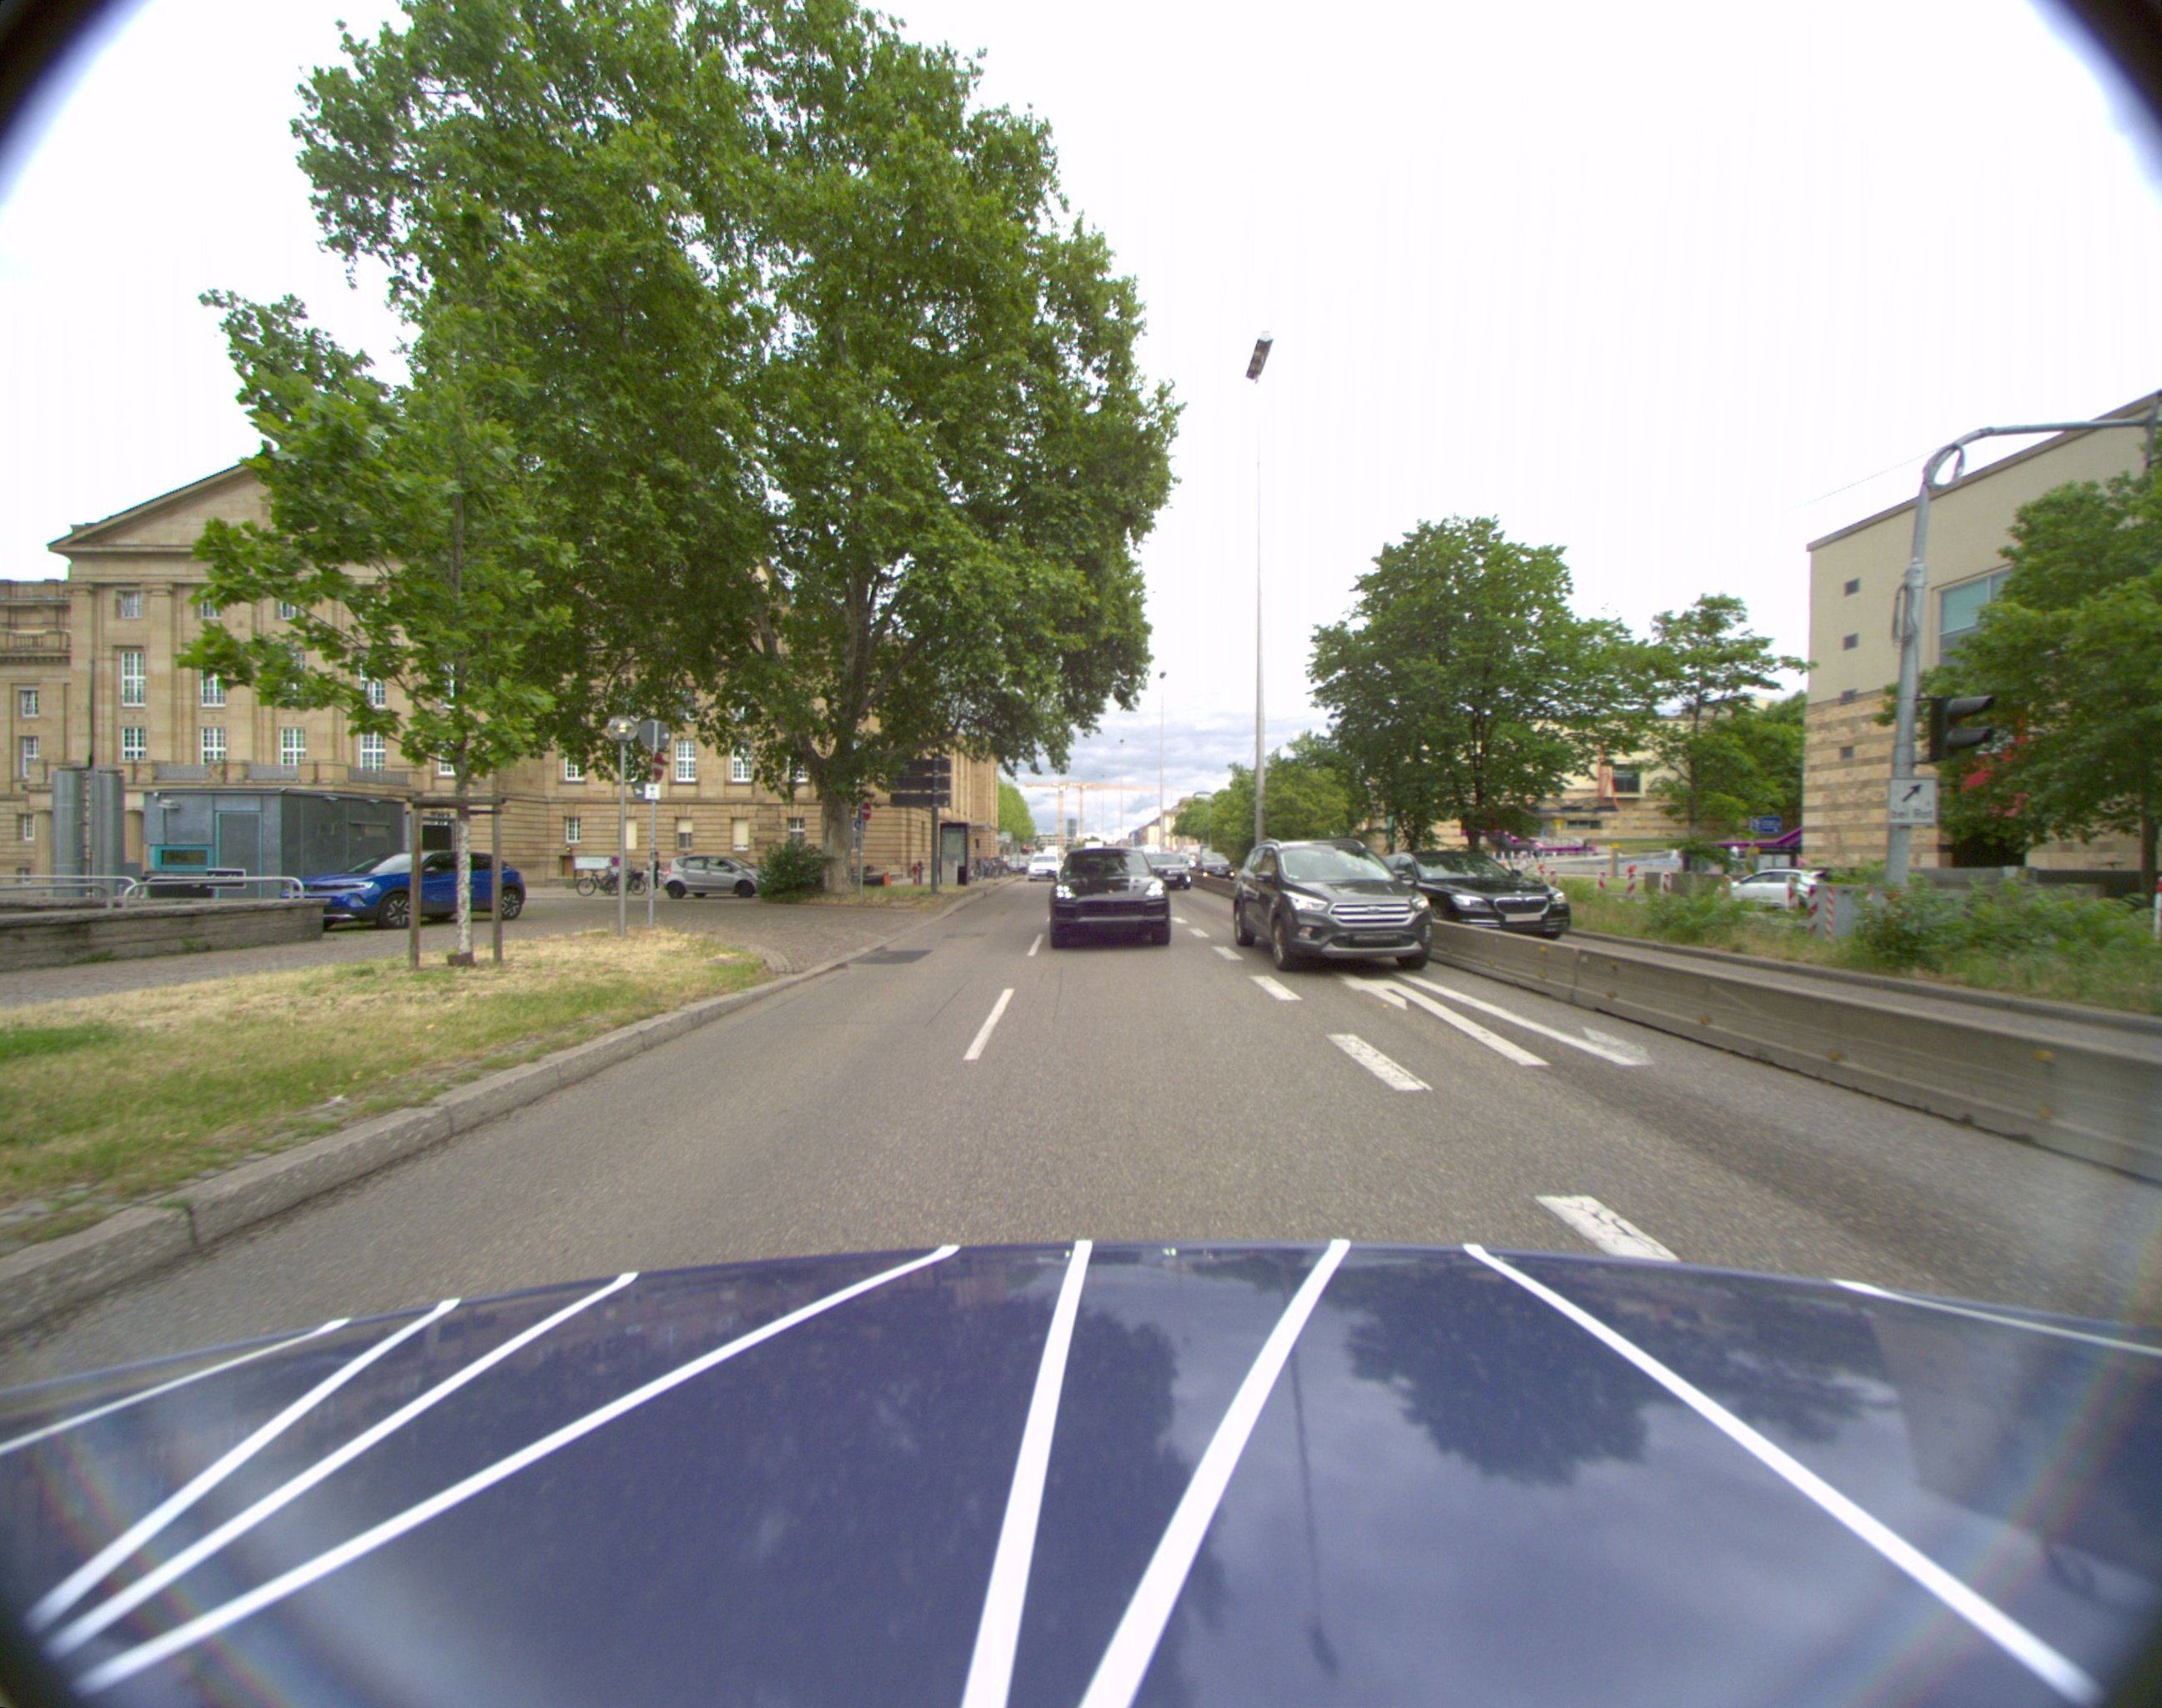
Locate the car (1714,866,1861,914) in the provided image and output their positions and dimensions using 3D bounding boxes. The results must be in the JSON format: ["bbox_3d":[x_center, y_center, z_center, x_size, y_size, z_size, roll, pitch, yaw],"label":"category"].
[{"bbox_3d":[22.964,1.130,24.905,1.355,1.281,3.736,-2,1,1],"label":"car"}]

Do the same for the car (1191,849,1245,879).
[{"bbox_3d":[7.038,0.497,39.484,1.998,1.474,4.809,0,0,0],"label":"car"}]

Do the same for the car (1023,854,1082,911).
[{"bbox_3d":[-0.813,0.792,23.201,1.582,1.600,3.578,0,0,1],"label":"car"}]

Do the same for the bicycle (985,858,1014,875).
[{"bbox_3d":[-5.284,0.791,49.264,1.842,1.066,0.531,0,1,-19],"label":"bicycle"}]

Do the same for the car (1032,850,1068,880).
[{"bbox_3d":[-1.794,0.623,45.087,1.695,1.585,4.000,2,1,3],"label":"car"}]

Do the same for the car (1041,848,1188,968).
[{"bbox_3d":[0.423,0.763,13.329,2.061,1.616,4.600,-3,1,-2],"label":"car"}]

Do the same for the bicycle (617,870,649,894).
[{"bbox_3d":[-19.974,1.223,33.932,0.918,0.925,2.674,-3,1,-24],"label":"bicycle"}]

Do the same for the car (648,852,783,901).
[{"bbox_3d":[-13.322,0.797,27.846,3.997,1.587,1.734,-2,1,1],"label":"car"}]

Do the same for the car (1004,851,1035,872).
[{"bbox_3d":[-4.862,0.581,60.376,1.843,1.522,4.000,0,1,4],"label":"car"}]

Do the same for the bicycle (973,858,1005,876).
[{"bbox_3d":[-5.639,0.810,46.739,1.918,1.092,0.541,0,1,-7],"label":"bicycle"}]

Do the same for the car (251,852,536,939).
[{"bbox_3d":[-13.505,0.761,15.355,1.767,1.508,4.219,0,-1,3],"label":"car"}]

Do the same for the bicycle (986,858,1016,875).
[{"bbox_3d":[-5.095,0.804,48.344,1.841,1.066,0.532,0,1,-7],"label":"bicycle"}]

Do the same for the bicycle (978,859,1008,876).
[{"bbox_3d":[-5.511,0.830,47.413,1.841,1.066,0.619,0,1,-7],"label":"bicycle"}]

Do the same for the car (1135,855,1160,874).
[{"bbox_3d":[5.971,0.916,68.782,1.998,1.607,4.738,0,1,1],"label":"car"}]

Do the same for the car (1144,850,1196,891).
[{"bbox_3d":[3.636,0.609,31.514,1.767,1.507,4.152,-1,1,2],"label":"car"}]

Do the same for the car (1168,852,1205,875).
[{"bbox_3d":[7.325,0.621,53.089,1.998,1.474,4.809,0,0,0],"label":"car"}]

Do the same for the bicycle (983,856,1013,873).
[{"bbox_3d":[-5.554,0.710,50.803,1.939,1.126,0.540,0,1,-19],"label":"bicycle"}]

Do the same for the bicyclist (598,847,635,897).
[{"bbox_3d":[-19.003,0.713,31.115,1.013,2.002,1.102,-1,0,-16],"label":"bicyclist"}]

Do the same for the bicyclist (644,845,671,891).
[{"bbox_3d":[-18.968,0.628,34.058,0.879,2.002,0.842,-3,2,-25],"label":"bicyclist"}]

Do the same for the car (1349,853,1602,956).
[{"bbox_3d":[6.529,0.731,13.361,1.998,1.474,4.809,0,0,0],"label":"car"}]

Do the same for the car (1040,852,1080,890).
[{"bbox_3d":[-0.874,0.700,33.519,1.582,1.600,3.578,0,0,1],"label":"car"}]

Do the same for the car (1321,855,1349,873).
[{"bbox_3d":[24.651,0.954,73.861,1.582,1.600,3.578,0,0,1],"label":"car"}]

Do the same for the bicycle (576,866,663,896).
[{"bbox_3d":[-18.988,1.097,31.359,2.846,1.178,1.096,-1,1,-15],"label":"bicycle"}]

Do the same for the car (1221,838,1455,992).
[{"bbox_3d":[3.329,0.695,10.915,1.898,1.705,4.659,-1,0,2],"label":"car"}]
